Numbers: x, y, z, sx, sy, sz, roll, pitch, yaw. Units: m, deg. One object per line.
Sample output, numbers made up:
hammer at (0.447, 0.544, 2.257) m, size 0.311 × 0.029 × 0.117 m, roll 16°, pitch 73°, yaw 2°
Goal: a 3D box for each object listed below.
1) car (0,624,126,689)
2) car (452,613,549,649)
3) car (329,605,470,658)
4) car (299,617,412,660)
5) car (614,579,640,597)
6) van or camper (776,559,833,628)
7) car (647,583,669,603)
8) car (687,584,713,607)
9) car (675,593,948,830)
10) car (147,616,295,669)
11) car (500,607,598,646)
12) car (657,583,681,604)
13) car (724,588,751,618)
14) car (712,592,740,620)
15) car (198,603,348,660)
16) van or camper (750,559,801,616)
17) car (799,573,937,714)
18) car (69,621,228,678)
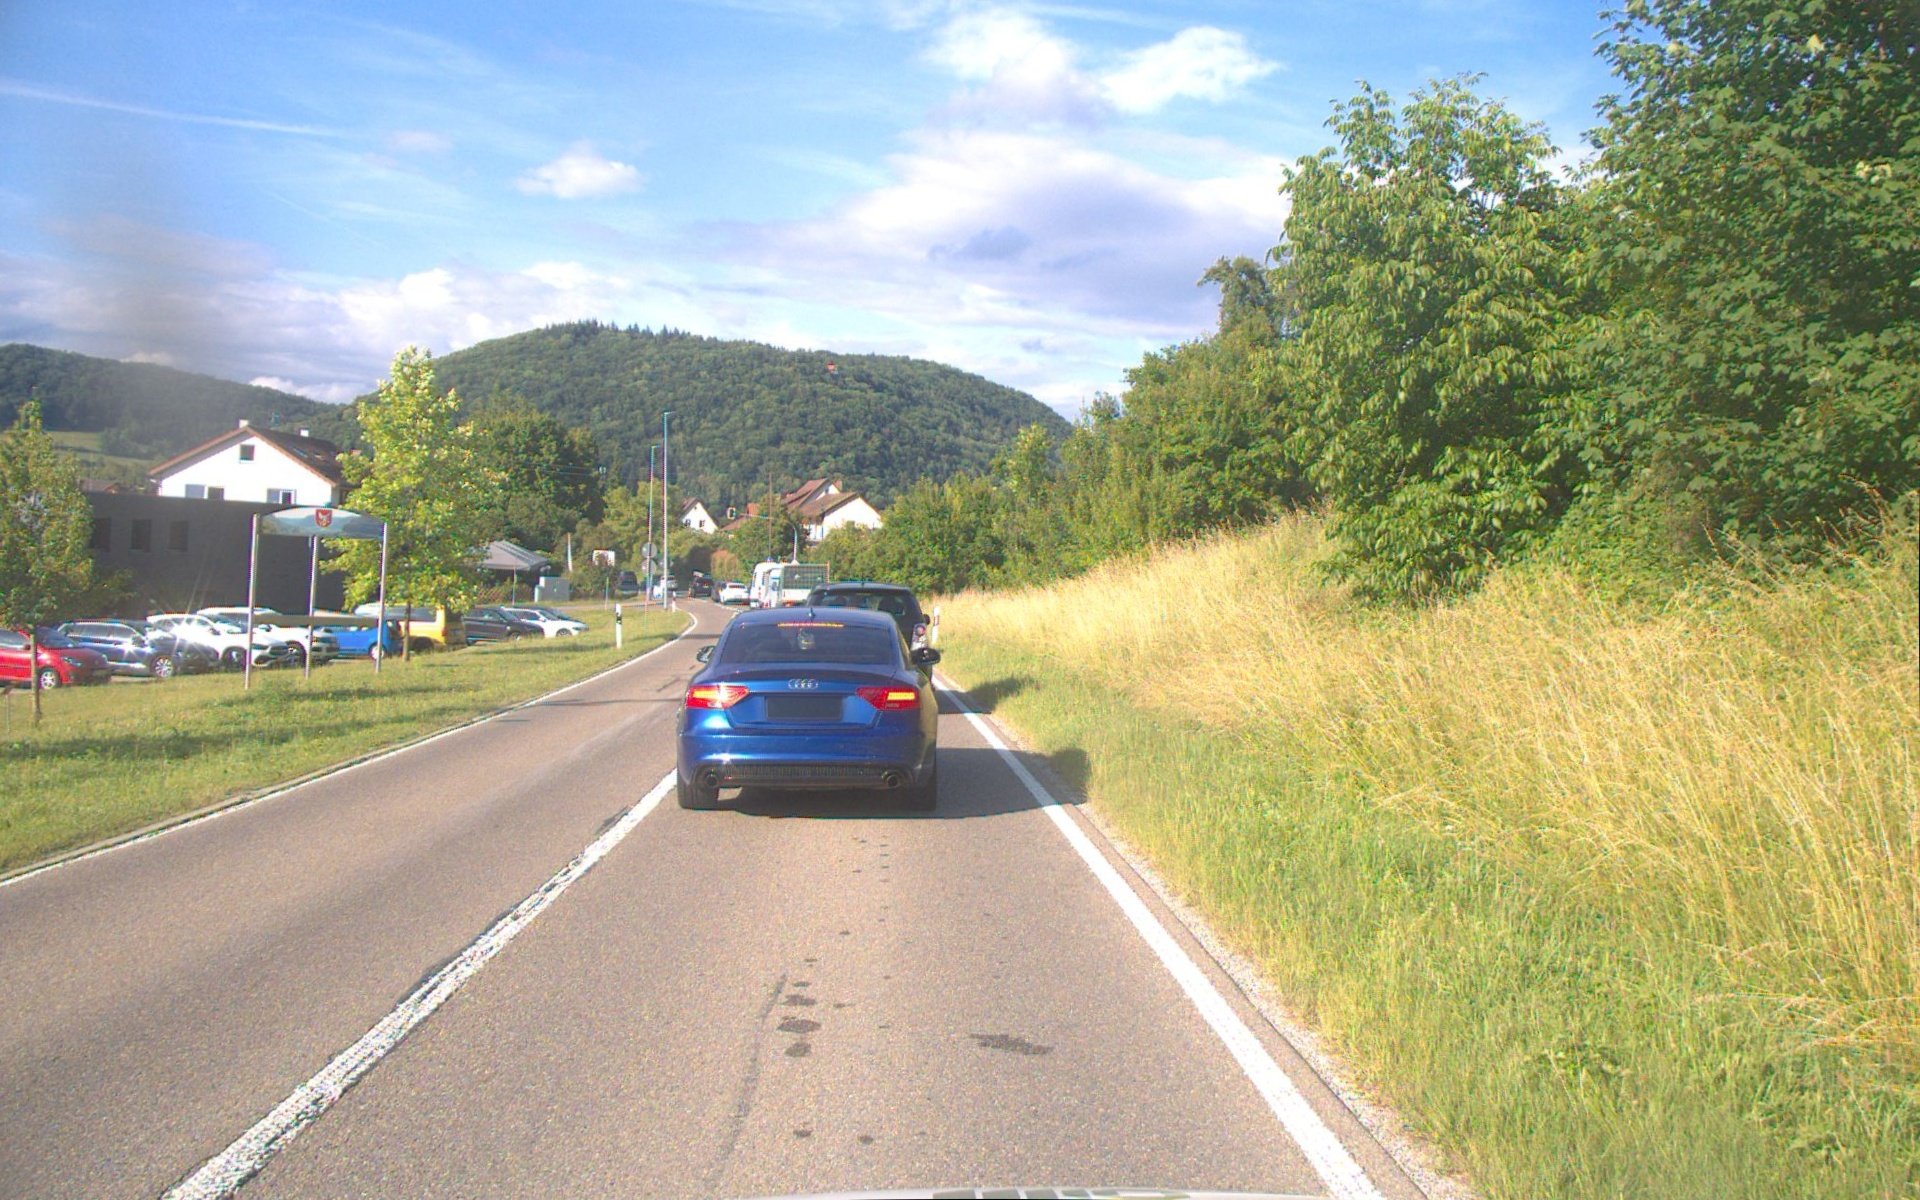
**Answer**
car at (-22.240, 1.350, 39.769) m, size 3.547 × 1.469 × 1.649 m, roll -1°, pitch 0°, yaw 7°
car at (-19.419, 1.313, 69.957) m, size 3.633 × 1.465 × 1.510 m, roll -1°, pitch 0°, yaw 7°
car at (-20.241, 1.132, 59.825) m, size 4.456 × 1.846 × 1.842 m, roll -1°, pitch 0°, yaw 7°
car at (-20.901, 1.334, 57.266) m, size 3.300 × 1.397 × 1.660 m, roll -1°, pitch 0°, yaw -1°
car at (-36.366, -1.293, 180.614) m, size 1.929 × 1.958 × 3.971 m, roll -1°, pitch 0°, yaw -23°
van or camper at (-6.029, -0.240, 63.706) m, size 2.013 × 2.549 × 5.802 m, roll 0°, pitch 0°, yaw -7°
car at (-30.410, -0.667, 166.530) m, size 1.651 × 1.958 × 3.979 m, roll 0°, pitch 0°, yaw -18°
car at (-21.983, -0.367, 139.628) m, size 1.650 × 1.958 × 3.982 m, roll 0°, pitch 0°, yaw -16°
car at (-1.015, 0.706, 12.241) m, size 1.707 × 1.476 × 3.515 m, roll -1°, pitch 0°, yaw -3°
car at (-21.399, 1.214, 47.956) m, size 3.588 × 1.520 × 1.598 m, roll 0°, pitch 0°, yaw 7°
car at (-18.439, 1.188, 74.253) m, size 3.949 × 1.689 × 1.657 m, roll -1°, pitch 0°, yaw 7°
car at (-27.741, -0.619, 157.581) m, size 1.652 × 1.958 × 3.977 m, roll 0°, pitch 0°, yaw -19°
car at (-14.938, 0.219, 110.824) m, size 1.629 × 1.958 × 3.990 m, roll 0°, pitch 0°, yaw -10°
car at (-16.744, 0.440, 118.166) m, size 1.631 × 1.958 × 3.985 m, roll 0°, pitch 0°, yaw -14°
car at (-21.285, 0.976, 51.307) m, size 3.990 × 1.702 × 1.598 m, roll -1°, pitch 0°, yaw 7°
van or camper at (-9.308, -0.613, 83.099) m, size 2.239 × 2.761 × 5.755 m, roll 0°, pitch 0°, yaw -9°
car at (-1.265, 0.516, 21.680) m, size 1.613 × 1.653 × 3.513 m, roll 2°, pitch 0°, yaw -5°
car at (-21.846, 1.323, 44.595) m, size 3.547 × 1.429 × 1.598 m, roll -1°, pitch 0°, yaw 7°
